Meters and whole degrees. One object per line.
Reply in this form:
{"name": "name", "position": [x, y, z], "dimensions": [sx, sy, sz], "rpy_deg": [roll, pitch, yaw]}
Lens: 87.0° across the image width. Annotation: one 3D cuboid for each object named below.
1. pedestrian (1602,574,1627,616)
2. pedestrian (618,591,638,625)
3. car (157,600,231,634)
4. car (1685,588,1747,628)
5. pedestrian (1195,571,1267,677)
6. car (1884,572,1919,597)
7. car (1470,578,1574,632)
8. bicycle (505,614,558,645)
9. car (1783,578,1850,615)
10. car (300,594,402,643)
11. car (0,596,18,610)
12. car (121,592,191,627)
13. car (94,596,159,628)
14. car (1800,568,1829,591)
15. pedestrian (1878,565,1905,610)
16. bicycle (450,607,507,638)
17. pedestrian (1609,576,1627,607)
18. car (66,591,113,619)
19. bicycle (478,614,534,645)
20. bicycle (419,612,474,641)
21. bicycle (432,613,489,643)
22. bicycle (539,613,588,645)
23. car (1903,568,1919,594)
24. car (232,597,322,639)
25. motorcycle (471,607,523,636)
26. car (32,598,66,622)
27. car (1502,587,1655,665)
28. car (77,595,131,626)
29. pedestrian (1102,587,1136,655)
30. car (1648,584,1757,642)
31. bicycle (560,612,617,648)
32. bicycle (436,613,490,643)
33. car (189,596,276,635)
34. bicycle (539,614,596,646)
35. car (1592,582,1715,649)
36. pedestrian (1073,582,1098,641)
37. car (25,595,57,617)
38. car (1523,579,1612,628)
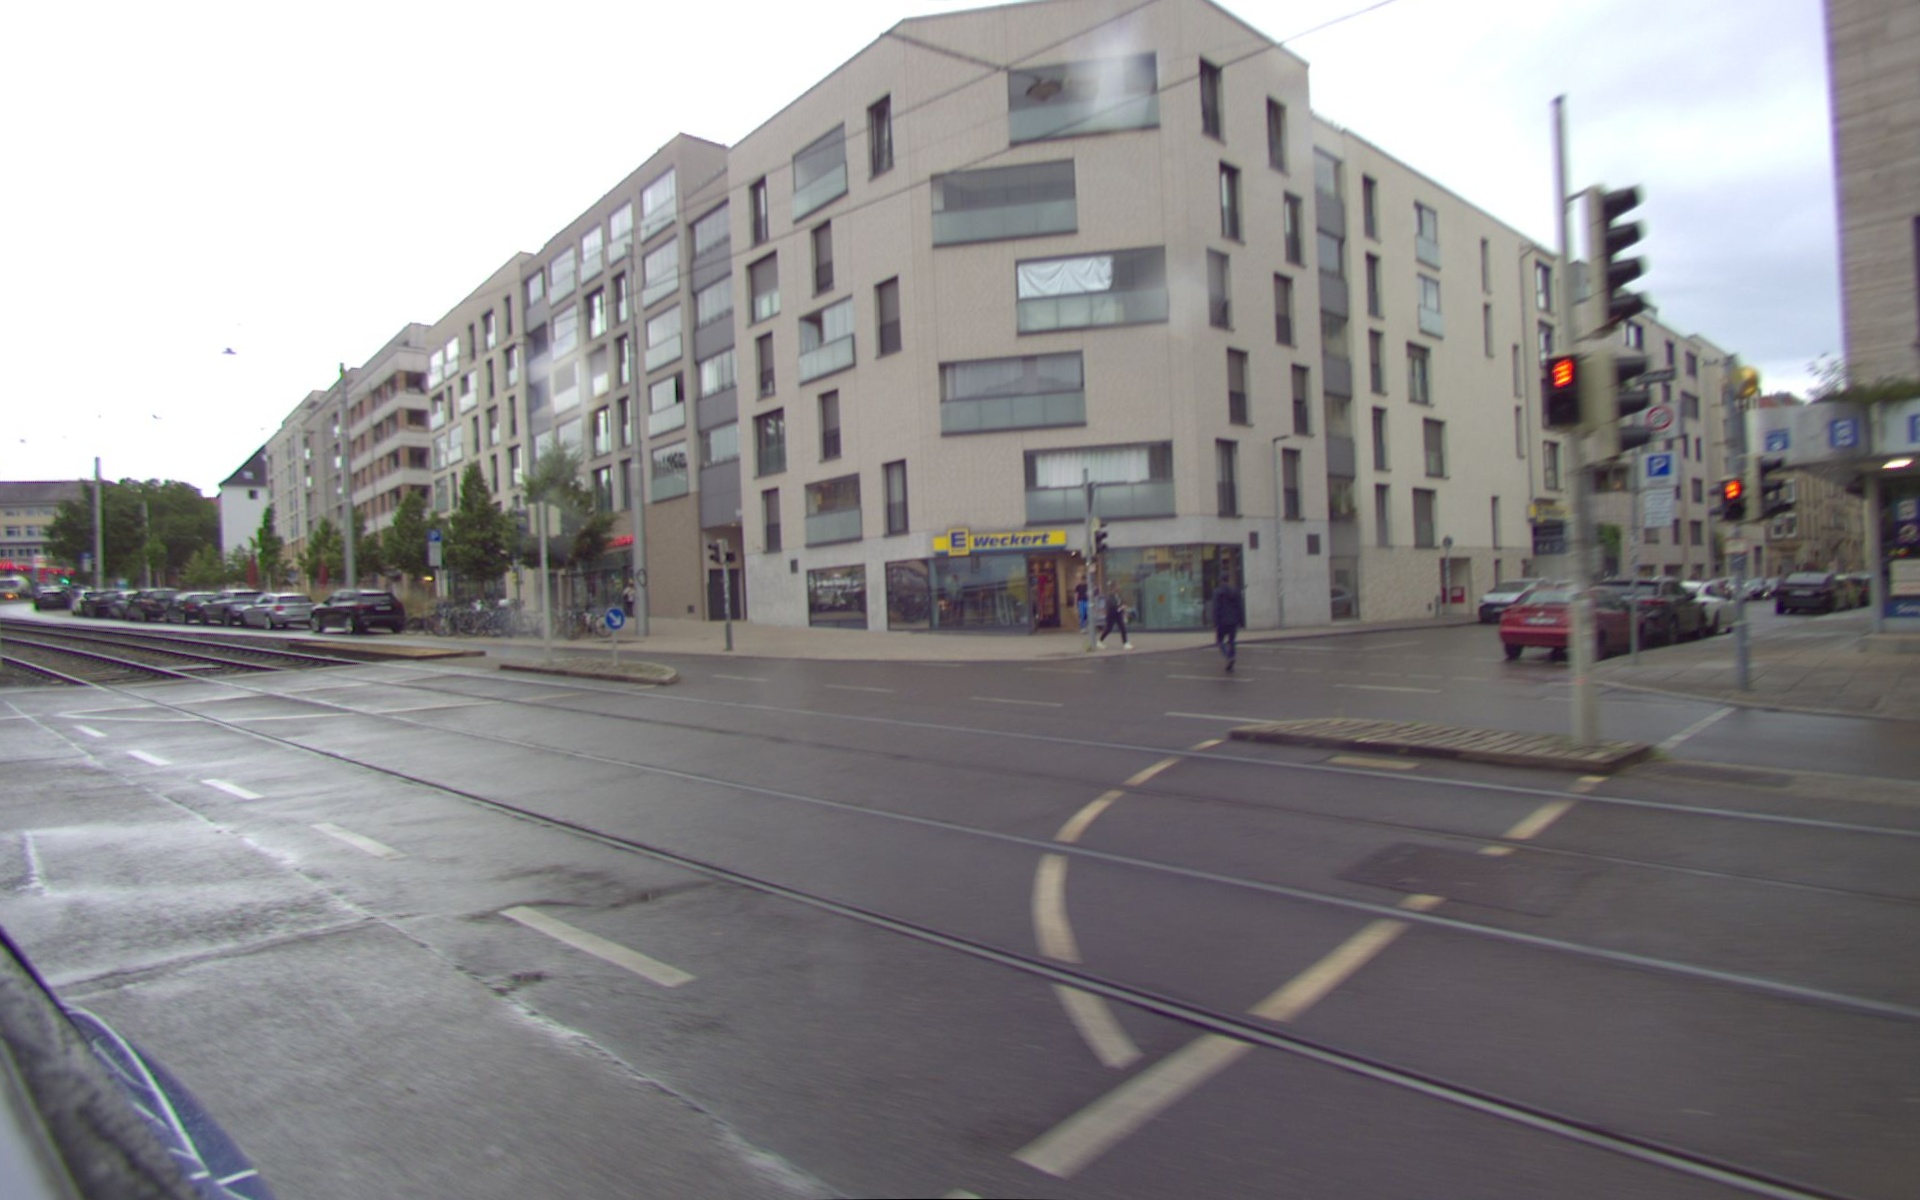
{"name": "pedestrian", "position": [31.862, -0.256, 49.276], "dimensions": [0.846, 1.963, 0.817], "rpy_deg": [-4, 5, -43]}
{"name": "pedestrian", "position": [-15.074, 0.367, 45.923], "dimensions": [0.532, 1.460, 0.804], "rpy_deg": [-4, 4, -40]}
{"name": "car", "position": [-35.571, 0.762, 46.977], "dimensions": [4.026, 1.391, 1.665], "rpy_deg": [1, 3, 37]}
{"name": "car", "position": [32.771, 0.296, 43.826], "dimensions": [3.561, 1.431, 1.567], "rpy_deg": [-5, 5, -44]}
{"name": "pedestrian", "position": [4.861, 0.403, 18.141], "dimensions": [0.959, 1.843, 0.921], "rpy_deg": [1, 1, 39]}
{"name": "car", "position": [66.403, -1.097, 71.371], "dimensions": [3.010, 1.584, 1.385], "rpy_deg": [-4, 5, -40]}
{"name": "car", "position": [20.134, 0.118, 36.217], "dimensions": [3.938, 1.607, 2.003], "rpy_deg": [-5, 5, -40]}
{"name": "bicycle", "position": [-14.103, 0.946, 33.356], "dimensions": [0.385, 0.924, 1.772], "rpy_deg": [0, 1, 28]}
{"name": "car", "position": [33.467, -0.168, 39.530], "dimensions": [3.650, 1.327, 1.595], "rpy_deg": [-2, 3, -44]}
{"name": "car", "position": [-22.422, 0.635, 37.198], "dimensions": [4.322, 1.615, 1.665], "rpy_deg": [1, 3, 37]}
{"name": "car", "position": [-121.184, 0.356, 128.623], "dimensions": [1.642, 1.618, 3.817], "rpy_deg": [-4, 4, -38]}
{"name": "car", "position": [-39.484, 0.446, 49.683], "dimensions": [3.921, 1.575, 1.665], "rpy_deg": [1, 3, 37]}
{"name": "car", "position": [-43.652, 0.599, 52.989], "dimensions": [3.921, 1.516, 1.665], "rpy_deg": [1, 3, 37]}
{"name": "car", "position": [65.449, -1.569, 77.469], "dimensions": [3.141, 1.584, 1.410], "rpy_deg": [-5, 5, -45]}
{"name": "pedestrian", "position": [33.361, -0.455, 36.235], "dimensions": [0.674, 1.560, 0.650], "rpy_deg": [-5, 5, -44]}
{"name": "bicycle", "position": [-16.183, 0.743, 34.064], "dimensions": [0.386, 0.924, 1.770], "rpy_deg": [1, 2, 32]}
{"name": "pedestrian", "position": [35.559, -0.466, 54.713], "dimensions": [0.532, 1.599, 0.664], "rpy_deg": [-4, 4, -40]}
{"name": "car", "position": [-51.294, 0.280, 59.586], "dimensions": [3.780, 1.516, 1.628], "rpy_deg": [1, 3, 43]}
{"name": "bicycle", "position": [-15.029, 0.964, 33.550], "dimensions": [0.386, 0.924, 1.770], "rpy_deg": [1, 3, 32]}
{"name": "bicycle", "position": [-18.273, 0.938, 36.060], "dimensions": [0.386, 0.924, 1.770], "rpy_deg": [1, 2, 32]}
{"name": "bicycle", "position": [-16.957, 0.943, 34.379], "dimensions": [0.386, 0.924, 1.770], "rpy_deg": [1, 2, 32]}
{"name": "bicycle", "position": [-12.979, 0.935, 33.172], "dimensions": [0.384, 0.924, 1.778], "rpy_deg": [0, 3, 20]}
{"name": "car", "position": [63.310, -1.273, 66.607], "dimensions": [3.010, 1.584, 1.385], "rpy_deg": [-4, 5, -40]}
{"name": "car", "position": [-27.809, 0.697, 41.167], "dimensions": [4.322, 1.475, 1.665], "rpy_deg": [1, 3, 37]}
{"name": "motorcycle", "position": [-17.539, 0.803, 38.363], "dimensions": [0.541, 1.050, 1.744], "rpy_deg": [3, 2, 33]}
{"name": "car", "position": [-65.252, 0.701, 72.484], "dimensions": [1.632, 1.474, 3.673], "rpy_deg": [-5, 5, -44]}
{"name": "car", "position": [12.348, 0.443, 20.127], "dimensions": [3.649, 1.327, 1.596], "rpy_deg": [-2, 3, -42]}
{"name": "car", "position": [-47.386, 0.549, 56.006], "dimensions": [4.404, 1.516, 1.662], "rpy_deg": [1, 3, 42]}
{"name": "pedestrian", "position": [3.848, 0.510, 24.504], "dimensions": [0.768, 1.580, 0.647], "rpy_deg": [-1, 3, 10]}
{"name": "car", "position": [19.847, 0.284, 26.982], "dimensions": [4.435, 1.327, 1.595], "rpy_deg": [-2, 3, -44]}
{"name": "bicycle", "position": [-11.565, 0.911, 31.556], "dimensions": [0.439, 0.987, 1.770], "rpy_deg": [1, 3, 32]}
{"name": "bicycle", "position": [-17.451, 0.969, 35.582], "dimensions": [0.386, 0.924, 1.770], "rpy_deg": [1, 2, 32]}
{"name": "car", "position": [-31.756, 0.638, 44.166], "dimensions": [4.037, 1.541, 1.667], "rpy_deg": [1, 3, 32]}
{"name": "bicycle", "position": [-12.521, 0.947, 32.290], "dimensions": [0.386, 0.882, 1.768], "rpy_deg": [1, 3, 35]}
{"name": "car", "position": [15.975, 0.294, 23.266], "dimensions": [3.650, 1.327, 1.595], "rpy_deg": [-2, 3, -44]}
{"name": "pedestrian", "position": [3.763, 0.329, 30.337], "dimensions": [0.582, 1.723, 0.700], "rpy_deg": [0, 2, 23]}
{"name": "car", "position": [-70.751, 0.448, 77.887], "dimensions": [1.632, 1.474, 3.673], "rpy_deg": [-5, 5, -44]}
{"name": "car", "position": [23.847, 0.103, 39.682], "dimensions": [3.938, 1.607, 1.804], "rpy_deg": [-5, 5, -40]}
